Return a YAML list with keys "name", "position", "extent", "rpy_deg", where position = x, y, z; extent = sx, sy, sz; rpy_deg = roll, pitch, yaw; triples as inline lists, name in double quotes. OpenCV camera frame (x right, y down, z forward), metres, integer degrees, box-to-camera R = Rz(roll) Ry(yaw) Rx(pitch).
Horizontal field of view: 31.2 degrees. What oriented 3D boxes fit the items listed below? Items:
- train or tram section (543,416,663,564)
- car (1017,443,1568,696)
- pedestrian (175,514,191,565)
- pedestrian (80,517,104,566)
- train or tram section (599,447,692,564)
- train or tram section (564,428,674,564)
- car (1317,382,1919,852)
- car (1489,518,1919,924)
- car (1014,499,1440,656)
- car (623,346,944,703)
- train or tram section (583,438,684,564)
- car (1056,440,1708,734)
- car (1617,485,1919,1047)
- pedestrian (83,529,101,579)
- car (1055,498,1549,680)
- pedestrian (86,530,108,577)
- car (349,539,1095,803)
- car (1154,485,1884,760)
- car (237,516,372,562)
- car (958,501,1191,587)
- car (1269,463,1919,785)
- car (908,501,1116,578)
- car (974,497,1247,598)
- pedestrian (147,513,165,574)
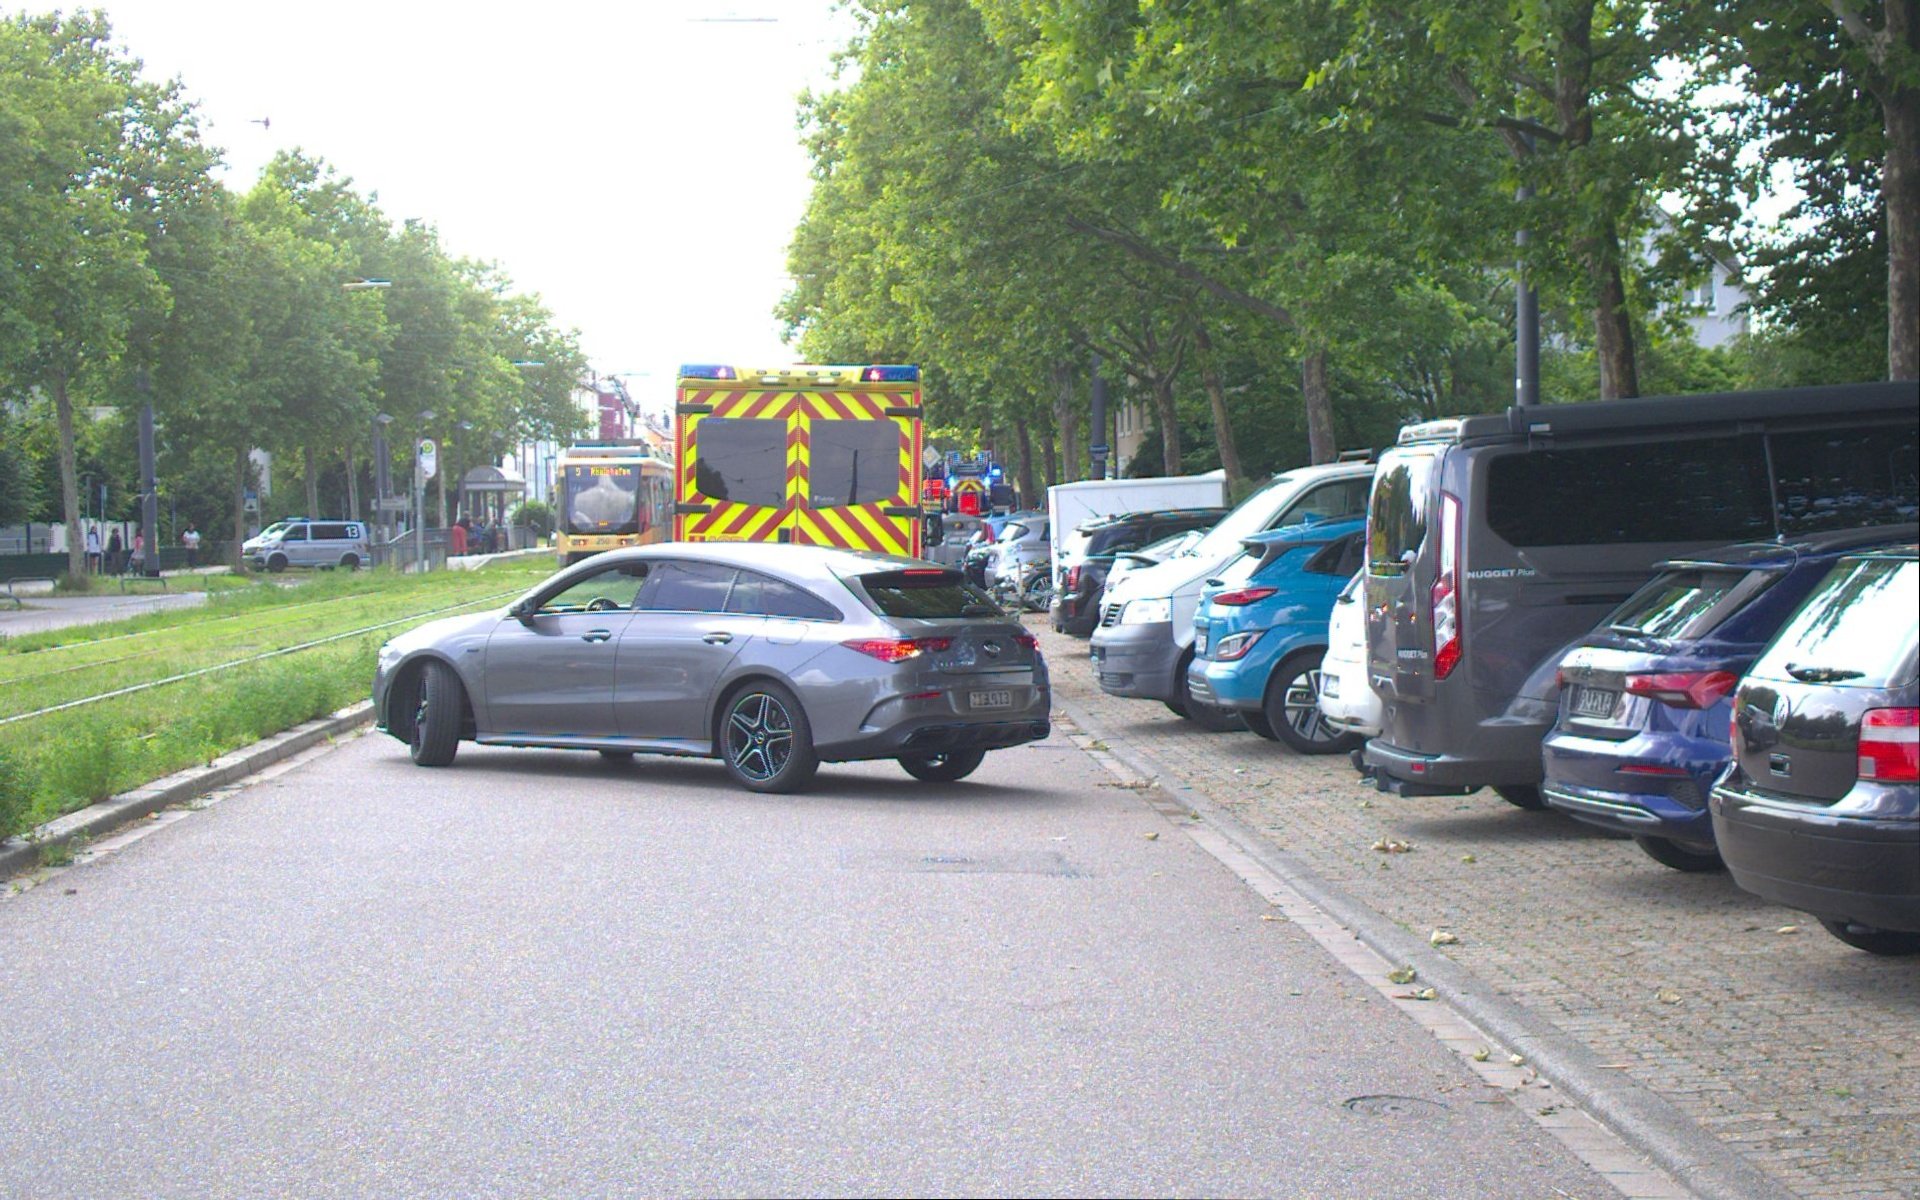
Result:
- name: "train or tram section"
  position: [-9.157, -2.770, 88.763]
  extent: [2.511, 3.572, 7.446]
  rpy_deg: [-2, 1, -2]
- name: "car"
  position: [2.904, -0.292, 30.590]
  extent: [4.545, 2.036, 1.856]
  rpy_deg: [-2, 1, -6]
- name: "pedestrian"
  position: [-27.816, -2.173, 123.063]
  extent: [0.466, 1.822, 0.423]
  rpy_deg: [-1, 1, -4]
- name: "pedestrian"
  position: [-28.212, -1.904, 111.789]
  extent: [0.632, 1.545, 0.622]
  rpy_deg: [-1, 1, -5]
- name: "train or tram section"
  position: [-10.107, -2.996, 111.067]
  extent: [2.511, 3.572, 7.446]
  rpy_deg: [-2, 1, -2]
- name: "train or tram section"
  position: [-9.481, -2.845, 96.190]
  extent: [2.511, 3.572, 7.446]
  rpy_deg: [-2, 1, -2]
- name: "car"
  position: [4.192, 0.025, 17.025]
  extent: [4.545, 2.116, 1.856]
  rpy_deg: [-2, 1, -2]
- name: "car"
  position: [4.299, 0.401, 13.906]
  extent: [3.965, 1.489, 1.756]
  rpy_deg: [-2, 1, -2]
- name: "car"
  position: [2.999, -0.277, 39.228]
  extent: [4.545, 1.603, 1.856]
  rpy_deg: [-2, 1, -6]
- name: "car"
  position: [-1.540, -0.705, 32.486]
  extent: [2.641, 2.956, 6.300]
  rpy_deg: [2, 1, -1]
- name: "train or tram section"
  position: [-9.798, -2.921, 103.629]
  extent: [2.511, 3.572, 7.446]
  rpy_deg: [-2, 1, -2]
- name: "car"
  position: [3.125, -0.124, 26.001]
  extent: [4.545, 1.994, 1.856]
  rpy_deg: [-2, 1, -6]
- name: "car"
  position: [4.346, 0.391, 11.081]
  extent: [3.964, 1.600, 1.757]
  rpy_deg: [-2, 1, -12]
- name: "pedestrian"
  position: [-25.930, -1.368, 102.676]
  extent: [0.421, 1.468, 0.467]
  rpy_deg: [-1, 1, -7]
- name: "car"
  position: [3.341, -0.135, 34.079]
  extent: [4.545, 1.603, 1.856]
  rpy_deg: [-2, 1, -6]
- name: "pedestrian"
  position: [-26.220, -1.415, 104.503]
  extent: [0.422, 1.409, 0.467]
  rpy_deg: [-1, 1, 23]
- name: "car"
  position: [-1.521, 0.362, 20.968]
  extent: [4.463, 1.381, 1.763]
  rpy_deg: [2, 1, 37]
- name: "car"
  position: [3.750, 0.119, 23.485]
  extent: [4.545, 1.654, 1.856]
  rpy_deg: [-2, 1, -6]
- name: "car"
  position: [-24.590, -2.285, 128.975]
  extent: [4.615, 1.627, 1.882]
  rpy_deg: [-2, 2, -41]
- name: "car"
  position: [2.326, -1.163, 70.625]
  extent: [4.545, 1.603, 1.856]
  rpy_deg: [-2, 1, -6]
- name: "car"
  position: [4.293, 0.098, 20.965]
  extent: [4.545, 1.760, 1.856]
  rpy_deg: [-2, 1, -2]
- name: "car"
  position: [1.168, -1.390, 78.829]
  extent: [4.545, 1.603, 1.856]
  rpy_deg: [-2, 1, -6]
- name: "car"
  position: [2.633, -0.937, 60.780]
  extent: [4.545, 1.603, 1.856]
  rpy_deg: [-2, 1, -6]
- name: "pedestrian"
  position: [-23.120, -1.625, 98.823]
  extent: [0.421, 1.724, 0.467]
  rpy_deg: [-1, 1, -7]
